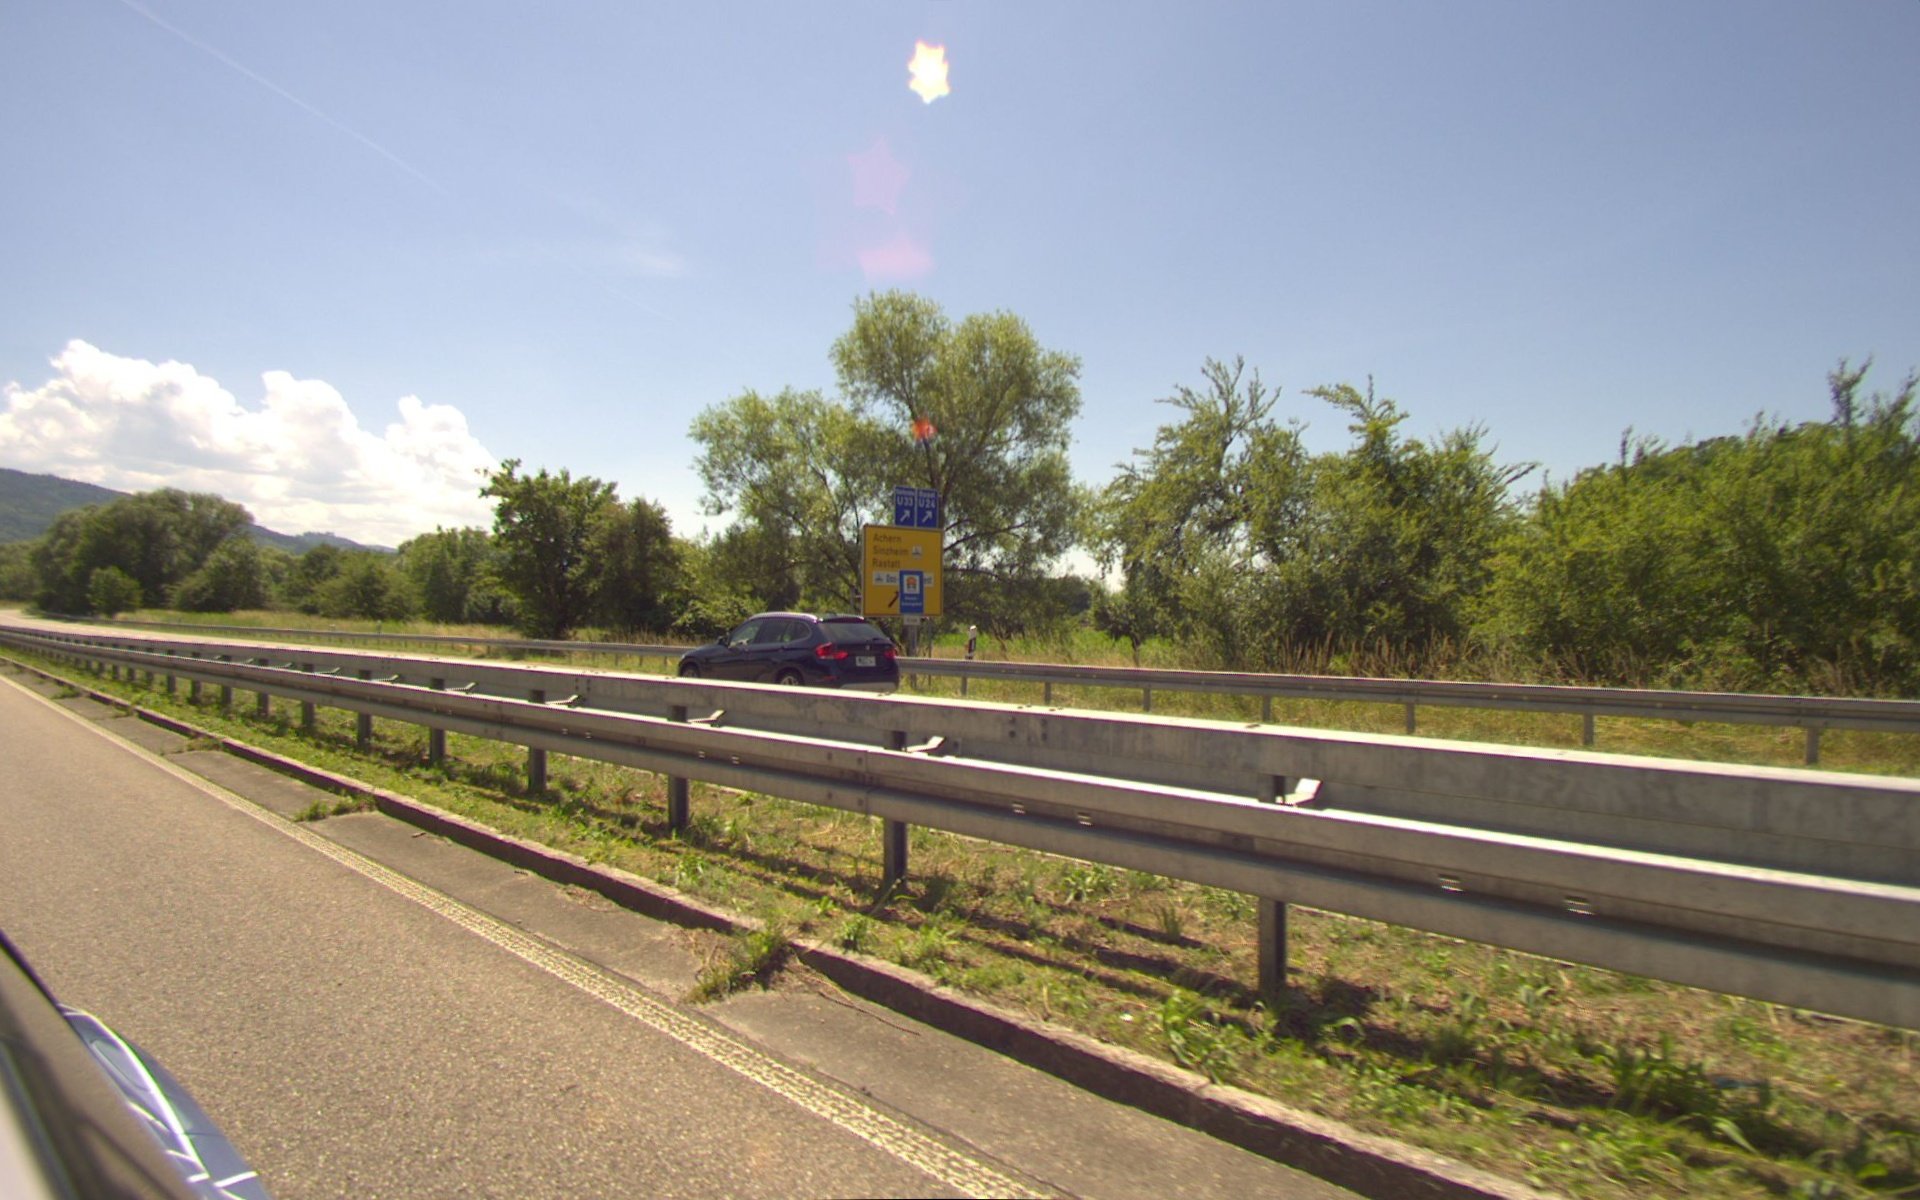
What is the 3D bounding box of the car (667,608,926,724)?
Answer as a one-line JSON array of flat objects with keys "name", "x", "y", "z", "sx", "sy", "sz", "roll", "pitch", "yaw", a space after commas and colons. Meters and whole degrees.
[{"name": "car", "x": -2.785, "y": 0.998, "z": 16.571, "sx": 4.505, "sy": 1.632, "sz": 1.760, "roll": -1, "pitch": -3, "yaw": 43}]
